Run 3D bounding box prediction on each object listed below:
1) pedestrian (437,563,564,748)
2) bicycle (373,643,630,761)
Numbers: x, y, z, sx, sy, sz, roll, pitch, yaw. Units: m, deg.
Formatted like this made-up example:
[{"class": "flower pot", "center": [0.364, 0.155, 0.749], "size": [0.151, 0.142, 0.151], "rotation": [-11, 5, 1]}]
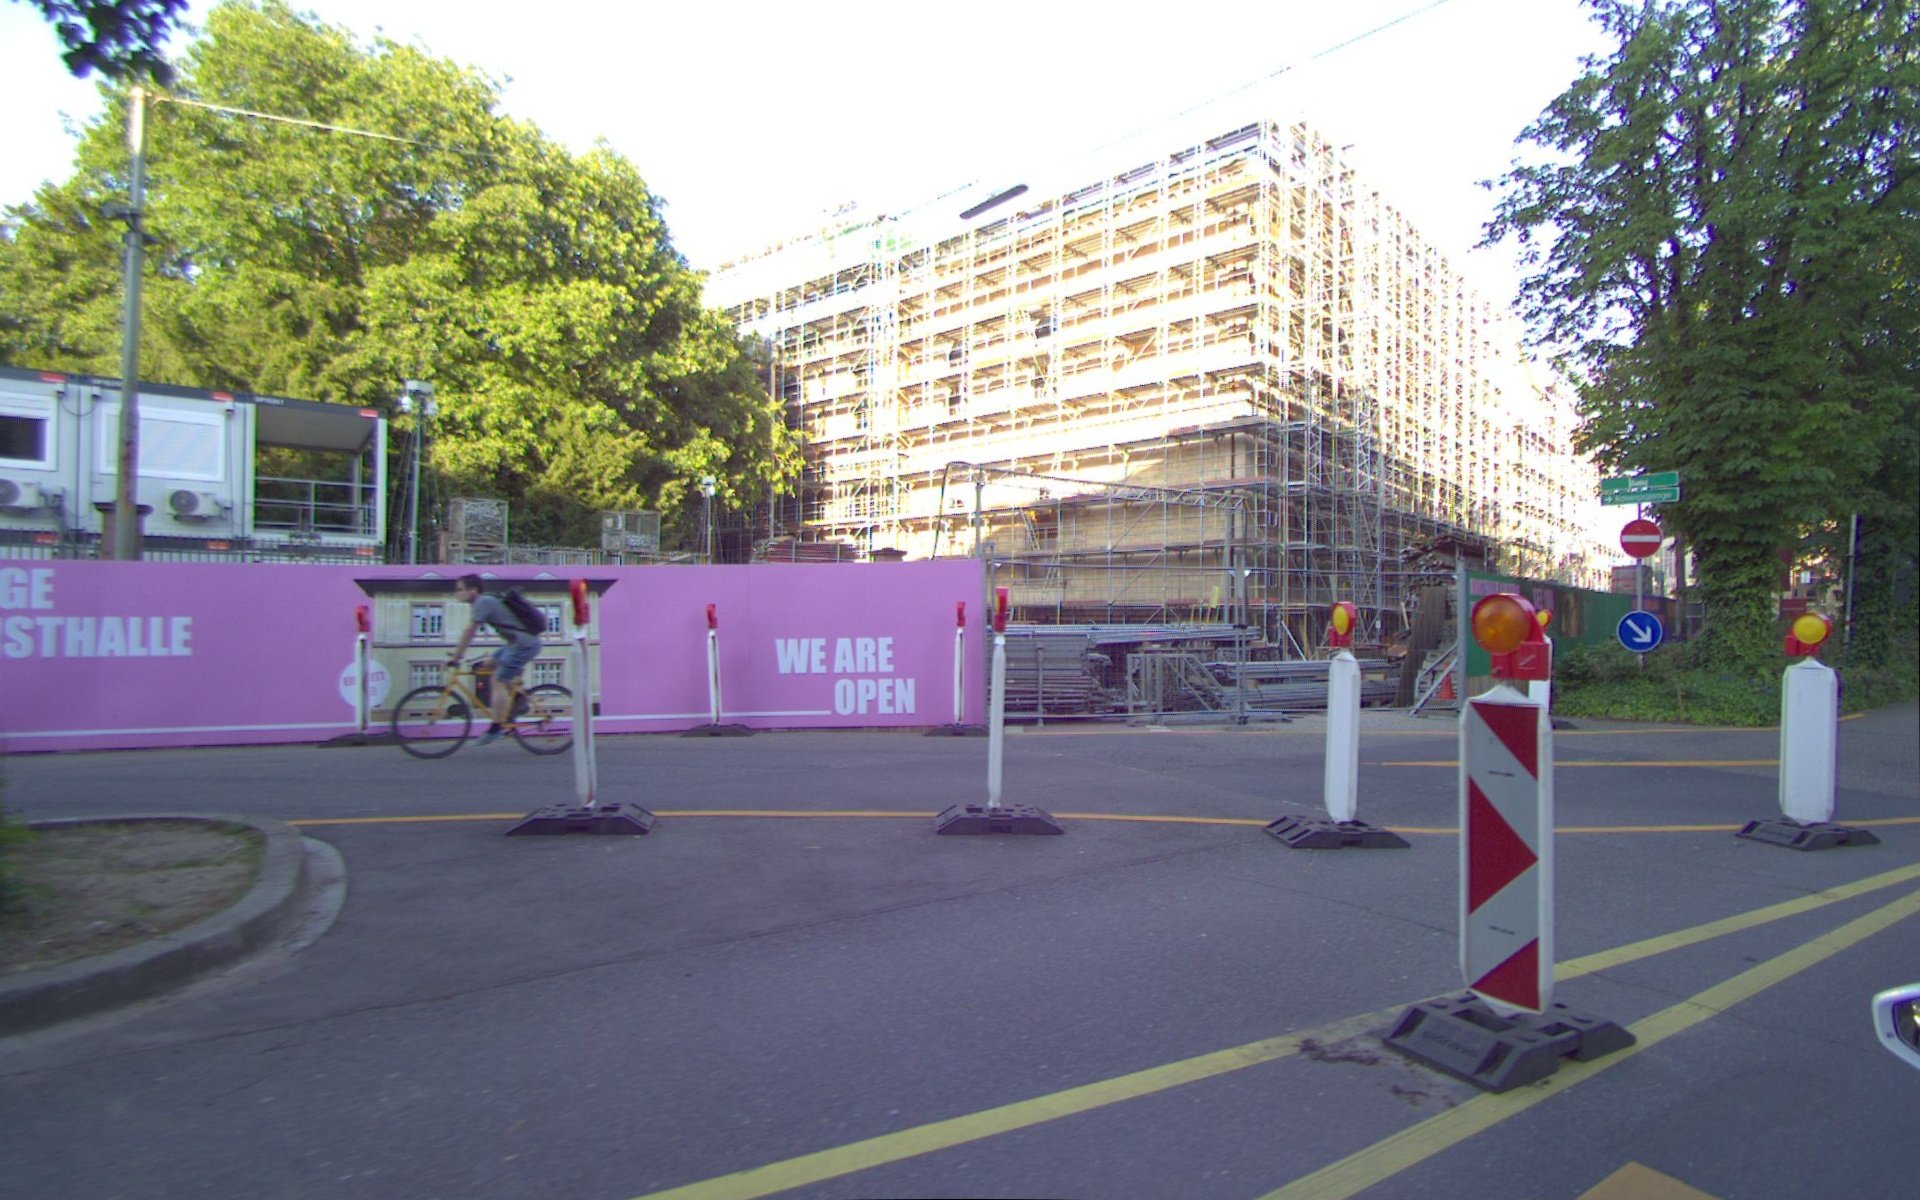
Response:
[{"class": "pedestrian", "center": [-4.376, 0.521, 9.615], "size": [0.878, 1.696, 0.737], "rotation": [1, -1, -4]}, {"class": "bicycle", "center": [-4.327, 0.957, 9.609], "size": [2.080, 1.051, 0.763], "rotation": [1, -1, -5]}]
